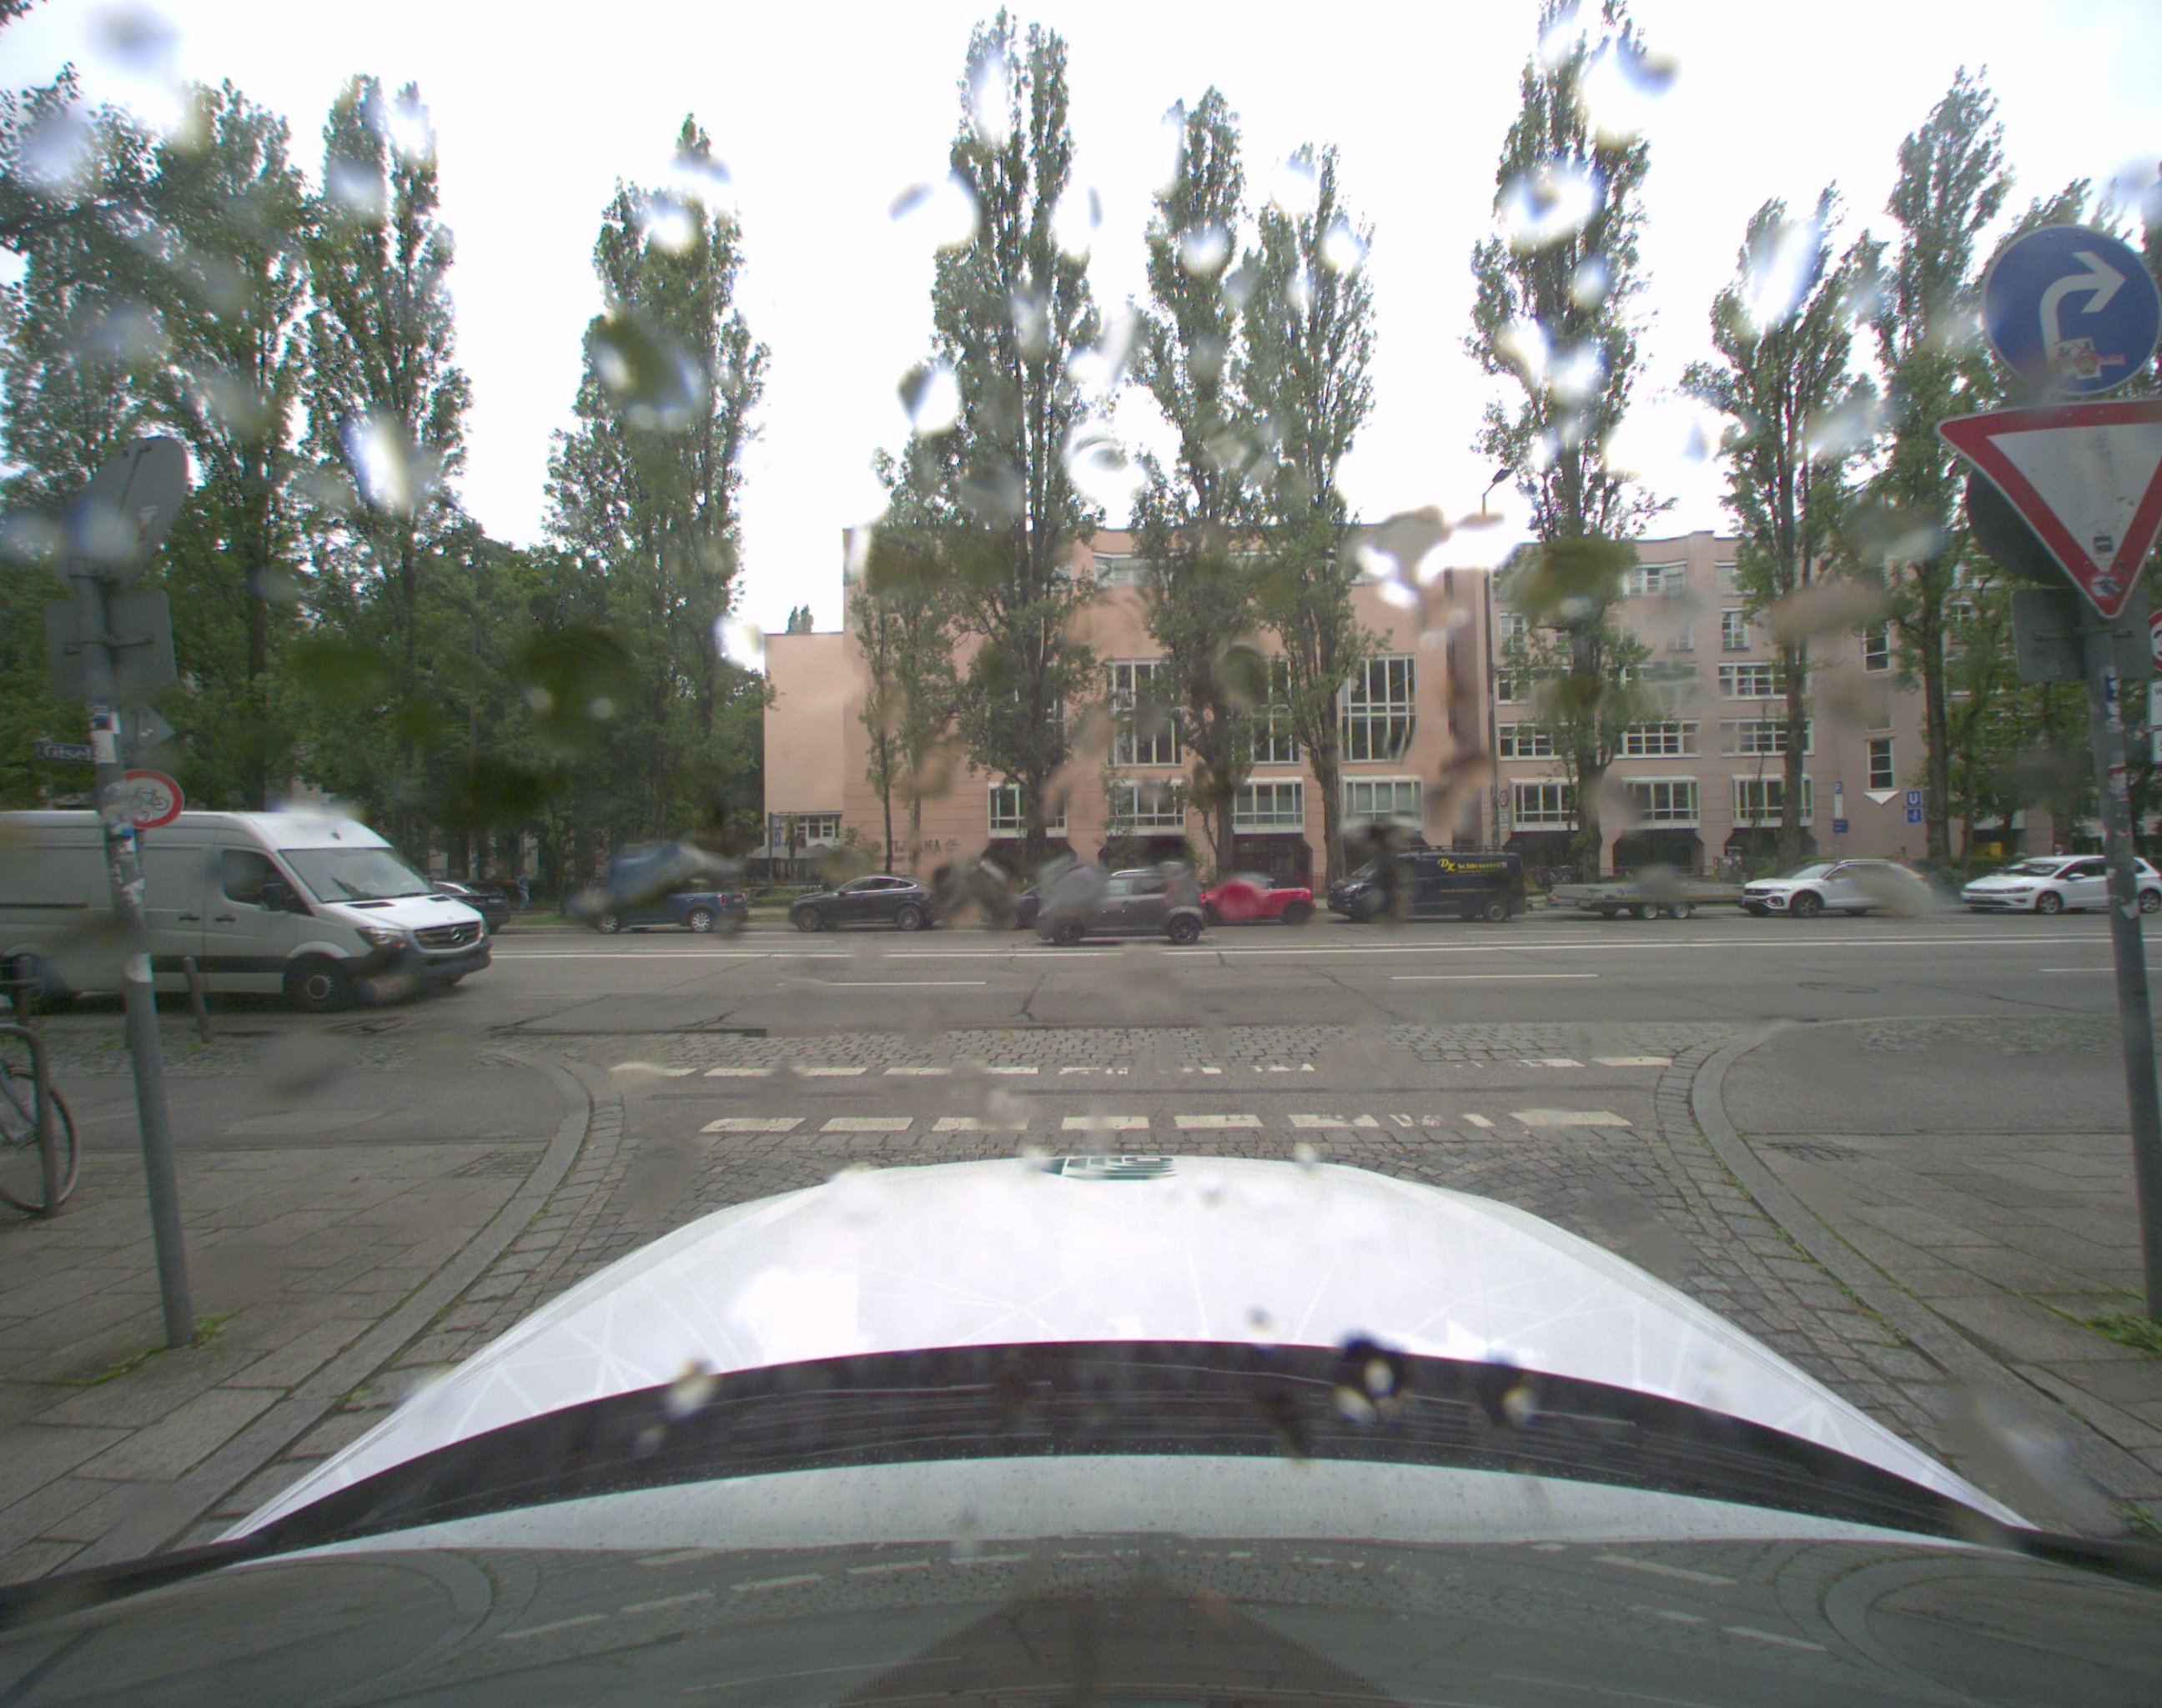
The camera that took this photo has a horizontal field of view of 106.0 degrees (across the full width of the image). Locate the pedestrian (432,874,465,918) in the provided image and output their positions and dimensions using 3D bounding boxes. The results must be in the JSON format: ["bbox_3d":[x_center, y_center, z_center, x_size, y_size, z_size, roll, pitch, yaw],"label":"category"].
[{"bbox_3d":[-25.047,1.651,32.239,0.726,1.714,0.710,-1,-1,3],"label":"pedestrian"}]

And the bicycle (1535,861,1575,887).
[{"bbox_3d":[21.071,0.877,36.236,0.671,1.124,1.990,-1,-1,3],"label":"bicycle"}]

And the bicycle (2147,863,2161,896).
[{"bbox_3d":[36.831,0.847,26.894,0.671,1.124,1.990,-1,-1,3],"label":"bicycle"}]

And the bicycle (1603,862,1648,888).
[{"bbox_3d":[24.346,0.923,36.471,0.671,1.124,2.108,-1,-1,3],"label":"bicycle"}]

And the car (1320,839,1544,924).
[{"bbox_3d":[9.809,0.756,23.135,5.458,2.197,2.024,-1,-1,2],"label":"car"}]

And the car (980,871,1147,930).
[{"bbox_3d":[-0.450,1.302,23.349,4.590,1.529,1.794,-1,-1,2],"label":"car"}]

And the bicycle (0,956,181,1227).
[{"bbox_3d":[-4.941,1.063,3.333,0.487,1.093,1.706,-1,-1,7],"label":"bicycle"}]

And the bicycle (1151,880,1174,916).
[{"bbox_3d":[2.734,1.482,27.516,0.671,1.124,1.743,-1,-1,3],"label":"bicycle"}]

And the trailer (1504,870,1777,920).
[{"bbox_3d":[15.572,1.114,22.984,5.994,1.199,2.406,-1,-1,2],"label":"trailer"}]

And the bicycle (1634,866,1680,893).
[{"bbox_3d":[25.414,1.101,35.954,0.671,1.124,1.990,-1,-1,3],"label":"bicycle"}]

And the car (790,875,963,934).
[{"bbox_3d":[-5.810,1.438,23.491,4.482,1.529,1.794,-1,-1,2],"label":"car"}]

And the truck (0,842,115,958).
[{"bbox_3d":[-30.384,1.223,21.412,7.028,2.908,2.603,-1,-1,2],"label":"truck"}]

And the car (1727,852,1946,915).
[{"bbox_3d":[20.732,0.818,22.501,4.202,1.542,1.808,-2,-2,4],"label":"car"}]

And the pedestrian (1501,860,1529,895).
[{"bbox_3d":[17.620,0.943,33.078,0.711,1.369,0.725,0,-1,-27],"label":"pedestrian"}]

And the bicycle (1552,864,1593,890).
[{"bbox_3d":[21.853,1.013,36.232,0.671,1.124,1.990,-1,-1,3],"label":"bicycle"}]

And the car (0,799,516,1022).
[{"bbox_3d":[-11.488,0.715,11.162,5.999,2.652,2.047,-1,1,1],"label":"car"}]

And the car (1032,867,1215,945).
[{"bbox_3d":[0.903,1.089,17.554,3.725,1.527,1.850,-1,-2,2],"label":"car"}]

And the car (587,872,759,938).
[{"bbox_3d":[-11.718,1.451,23.570,4.051,1.732,1.793,-1,-2,0],"label":"car"}]

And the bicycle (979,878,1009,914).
[{"bbox_3d":[-2.950,1.403,27.775,0.671,1.124,1.990,-1,-1,3],"label":"bicycle"}]

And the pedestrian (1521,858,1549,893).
[{"bbox_3d":[18.379,0.868,32.996,0.726,1.369,0.710,-1,-1,3],"label":"pedestrian"}]

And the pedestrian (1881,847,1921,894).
[{"bbox_3d":[30.461,0.619,30.263,0.726,1.714,0.710,-1,-1,3],"label":"pedestrian"}]

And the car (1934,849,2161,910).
[{"bbox_3d":[26.968,0.695,22.722,4.298,1.542,1.999,-1,-1,-1],"label":"car"}]

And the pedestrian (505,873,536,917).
[{"bbox_3d":[-22.455,1.627,32.613,0.726,1.714,0.710,-1,-1,3],"label":"pedestrian"}]

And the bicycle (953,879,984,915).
[{"bbox_3d":[-3.805,1.446,27.700,0.671,1.124,1.990,-1,-1,3],"label":"bicycle"}]

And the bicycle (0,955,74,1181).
[{"bbox_3d":[-5.712,1.083,3.514,0.487,1.093,1.706,-1,-1,7],"label":"bicycle"}]

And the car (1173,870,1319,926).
[{"bbox_3d":[4.572,1.226,23.008,3.843,1.449,1.680,-1,-1,4],"label":"car"}]

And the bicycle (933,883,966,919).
[{"bbox_3d":[-4.457,1.570,27.686,0.671,1.124,1.990,-1,-1,3],"label":"bicycle"}]

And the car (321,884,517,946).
[{"bbox_3d":[-18.938,1.715,23.421,4.207,1.601,1.794,-1,-1,2],"label":"car"}]
